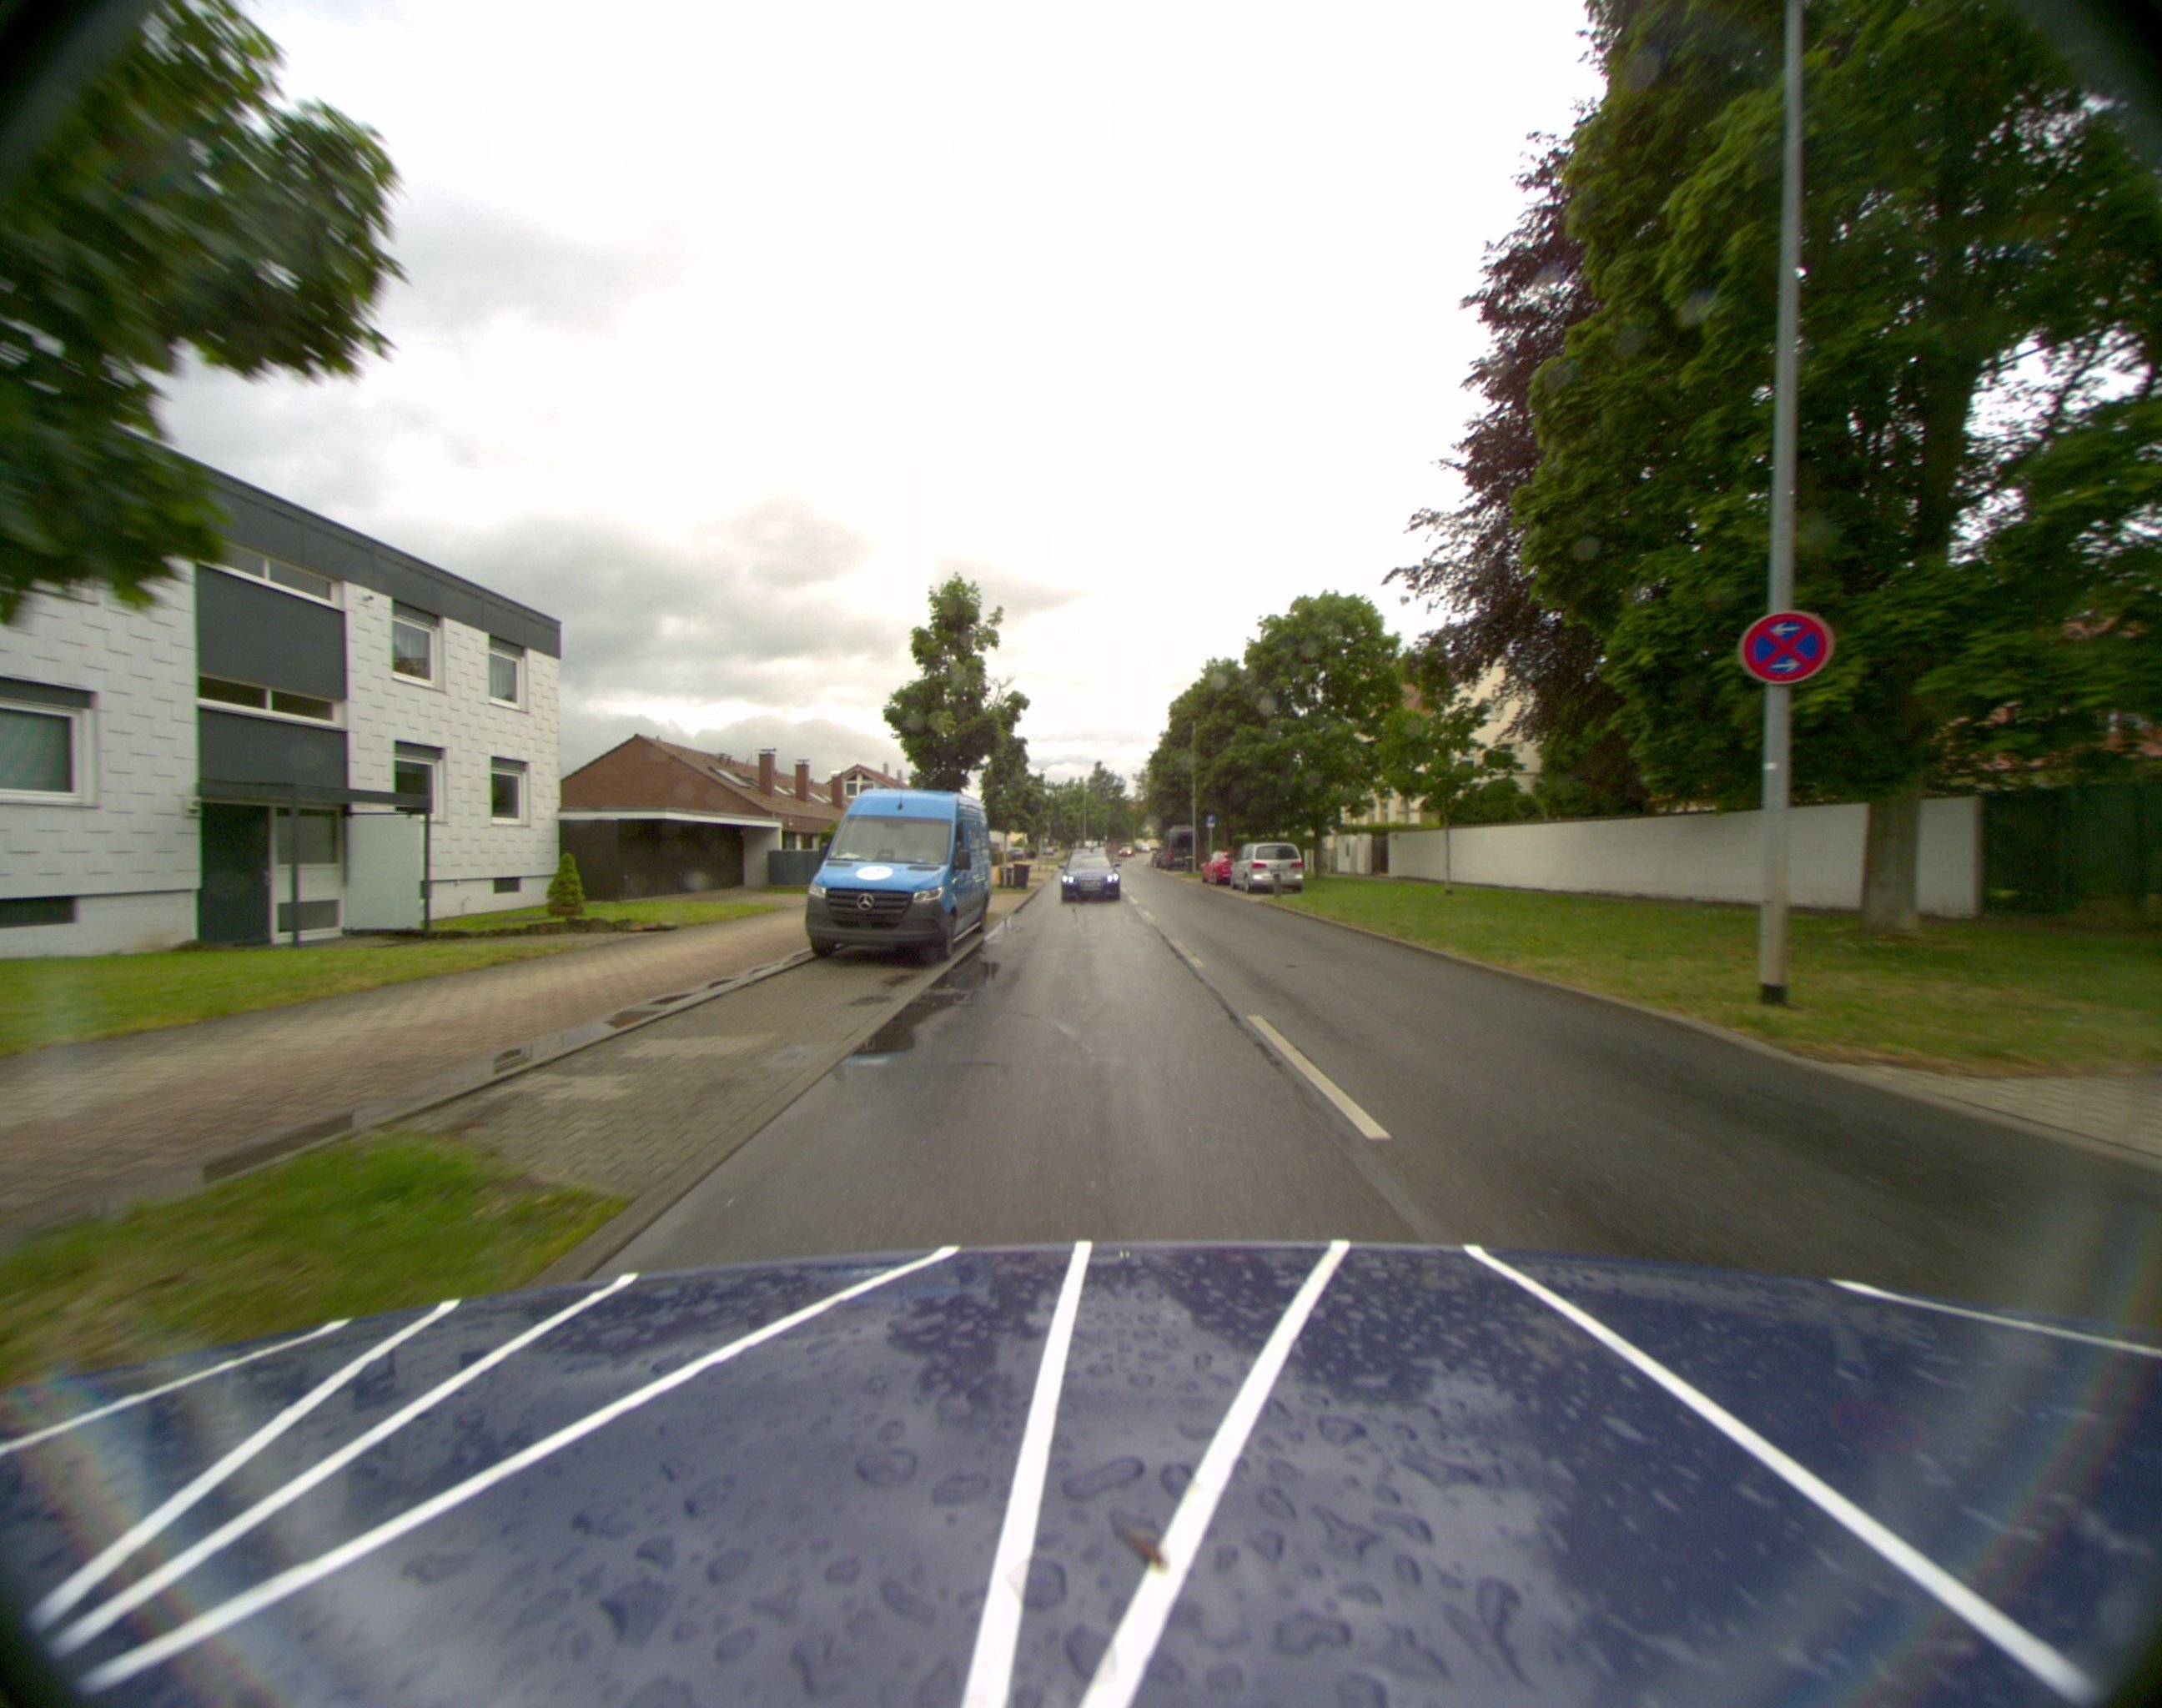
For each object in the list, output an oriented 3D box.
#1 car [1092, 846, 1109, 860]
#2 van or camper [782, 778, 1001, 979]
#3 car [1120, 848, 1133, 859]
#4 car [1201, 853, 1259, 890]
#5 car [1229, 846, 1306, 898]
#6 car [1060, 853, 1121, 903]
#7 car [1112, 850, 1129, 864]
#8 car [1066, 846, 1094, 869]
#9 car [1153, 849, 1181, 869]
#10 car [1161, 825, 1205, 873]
[{"bbox_3d":[2.380,-0.080,92.902,1.895,1.531,4.001,-3,-1,2],"label":"car"},{"bbox_3d":[-2.785,0.309,12.812,2.149,2.593,5.781,1,0,1],"label":"van or camper"},{"bbox_3d":[6.672,-0.089,111.214,1.895,1.531,4.002,-3,-1,4],"label":"car"},{"bbox_3d":[5.977,0.648,30.822,1.706,1.316,3.843,-3,0,3],"label":"car"},{"bbox_3d":[6.158,0.548,25.472,1.775,1.597,4.001,-1,0,3],"label":"car"},{"bbox_3d":[0.329,0.785,26.368,1.895,1.531,4.000,-3,-1,1],"label":"car"},{"bbox_3d":[4.514,0.341,86.729,1.895,1.531,4.001,-3,-1,3],"label":"car"},{"bbox_3d":[-0.022,0.251,53.526,1.847,1.531,4.000,-3,-1,1],"label":"car"},{"bbox_3d":[6.215,0.368,55.215,1.706,1.316,3.843,-3,0,3],"label":"car"},{"bbox_3d":[6.465,-0.320,48.655,2.247,2.822,5.045,-2,1,3],"label":"car"}]
